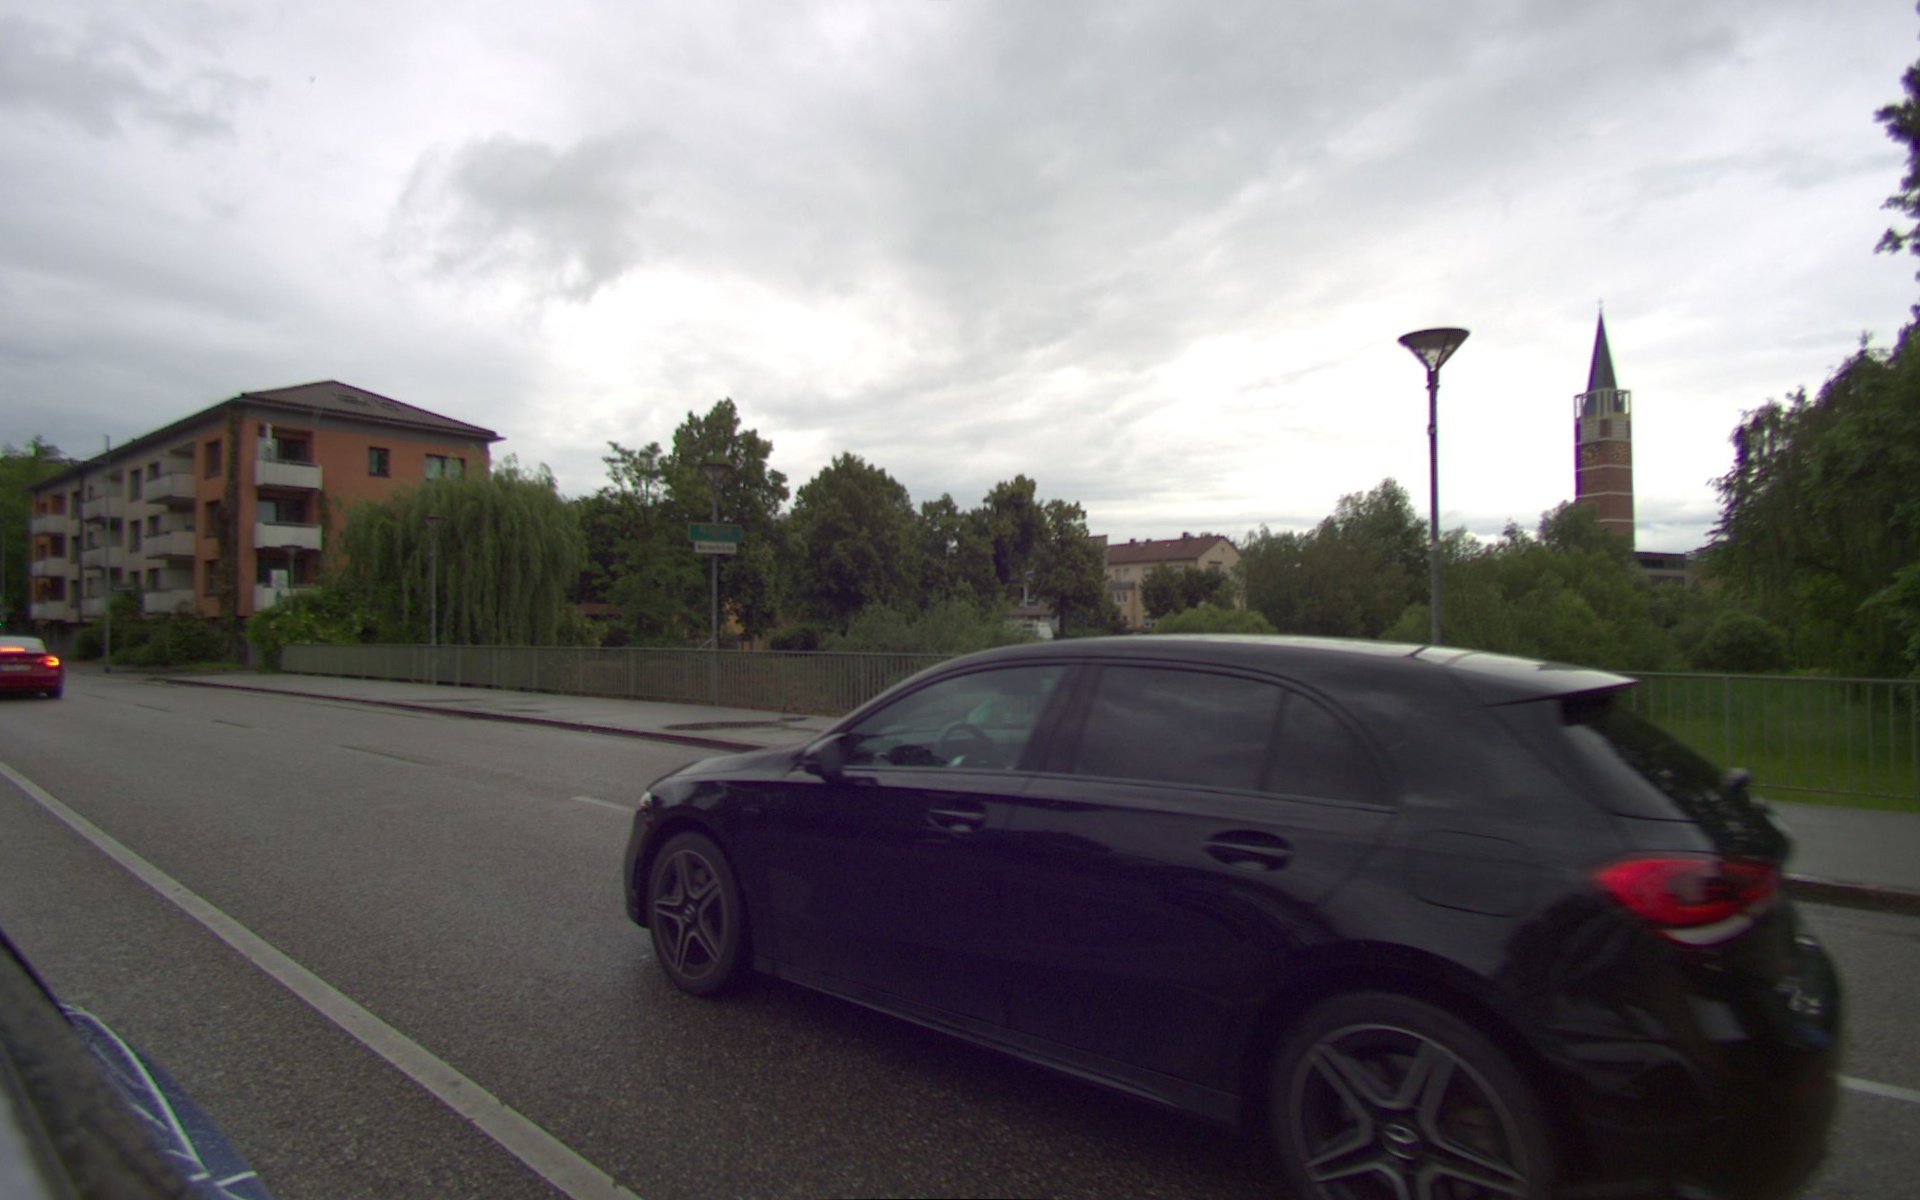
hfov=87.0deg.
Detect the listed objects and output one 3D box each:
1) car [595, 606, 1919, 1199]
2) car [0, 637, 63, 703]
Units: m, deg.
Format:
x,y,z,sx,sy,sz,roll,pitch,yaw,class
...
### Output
x,y,z,sx,sy,sz,roll,pitch,yaw,class
0.573,0.800,3.548,4.091,1.427,1.691,-2,-3,41,car
-21.988,1.565,23.064,4.216,1.413,1.763,-2,-4,41,car
